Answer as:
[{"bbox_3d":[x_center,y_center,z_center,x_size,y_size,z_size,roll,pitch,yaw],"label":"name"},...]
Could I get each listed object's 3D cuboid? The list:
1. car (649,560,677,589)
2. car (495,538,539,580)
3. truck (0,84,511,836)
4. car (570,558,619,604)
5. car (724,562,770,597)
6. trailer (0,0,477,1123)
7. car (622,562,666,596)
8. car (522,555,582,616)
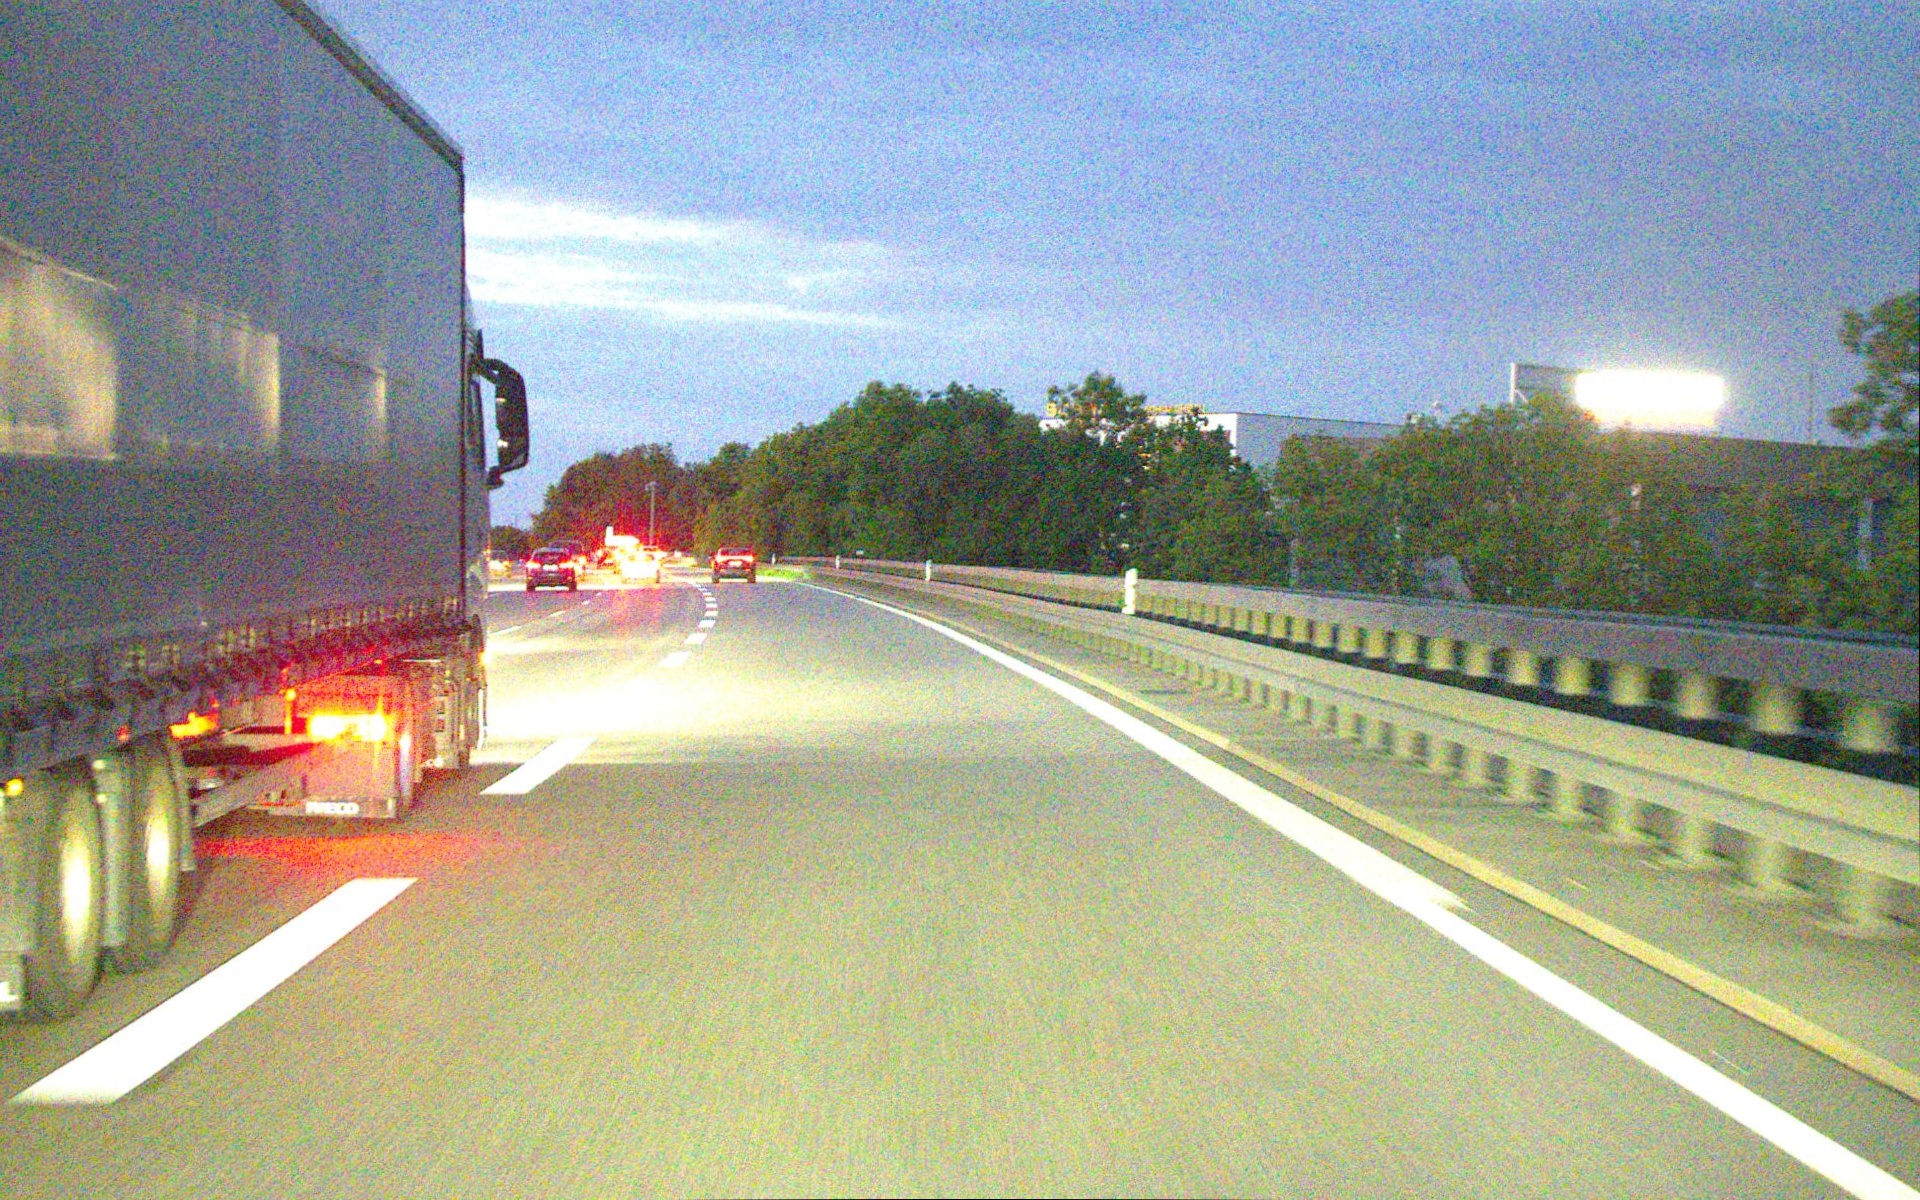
[{"bbox_3d":[-22.377,-1.926,258.832,1.993,2.007,4.000,1,-2,-4],"label":"car"},{"bbox_3d":[-23.925,-2.214,185.751,1.993,2.007,4.000,1,-2,-3],"label":"car"},{"bbox_3d":[-4.893,-0.782,21.719,3.550,4.077,6.152,0,0,-3],"label":"truck"},{"bbox_3d":[-17.699,-0.903,166.670,1.993,2.007,4.000,1,-2,-1],"label":"car"},{"bbox_3d":[-9.563,-0.906,153.981,1.993,1.350,4.000,1,-2,-4],"label":"car"},{"bbox_3d":[-4.557,-0.725,14.513,3.550,4.102,15.065,0,1,-3],"label":"trailer"},{"bbox_3d":[-14.263,-0.931,155.356,1.884,1.350,4.000,1,-2,-4],"label":"car"},{"bbox_3d":[-15.162,-0.515,127.896,1.993,2.073,4.000,1,-2,-4],"label":"car"}]
